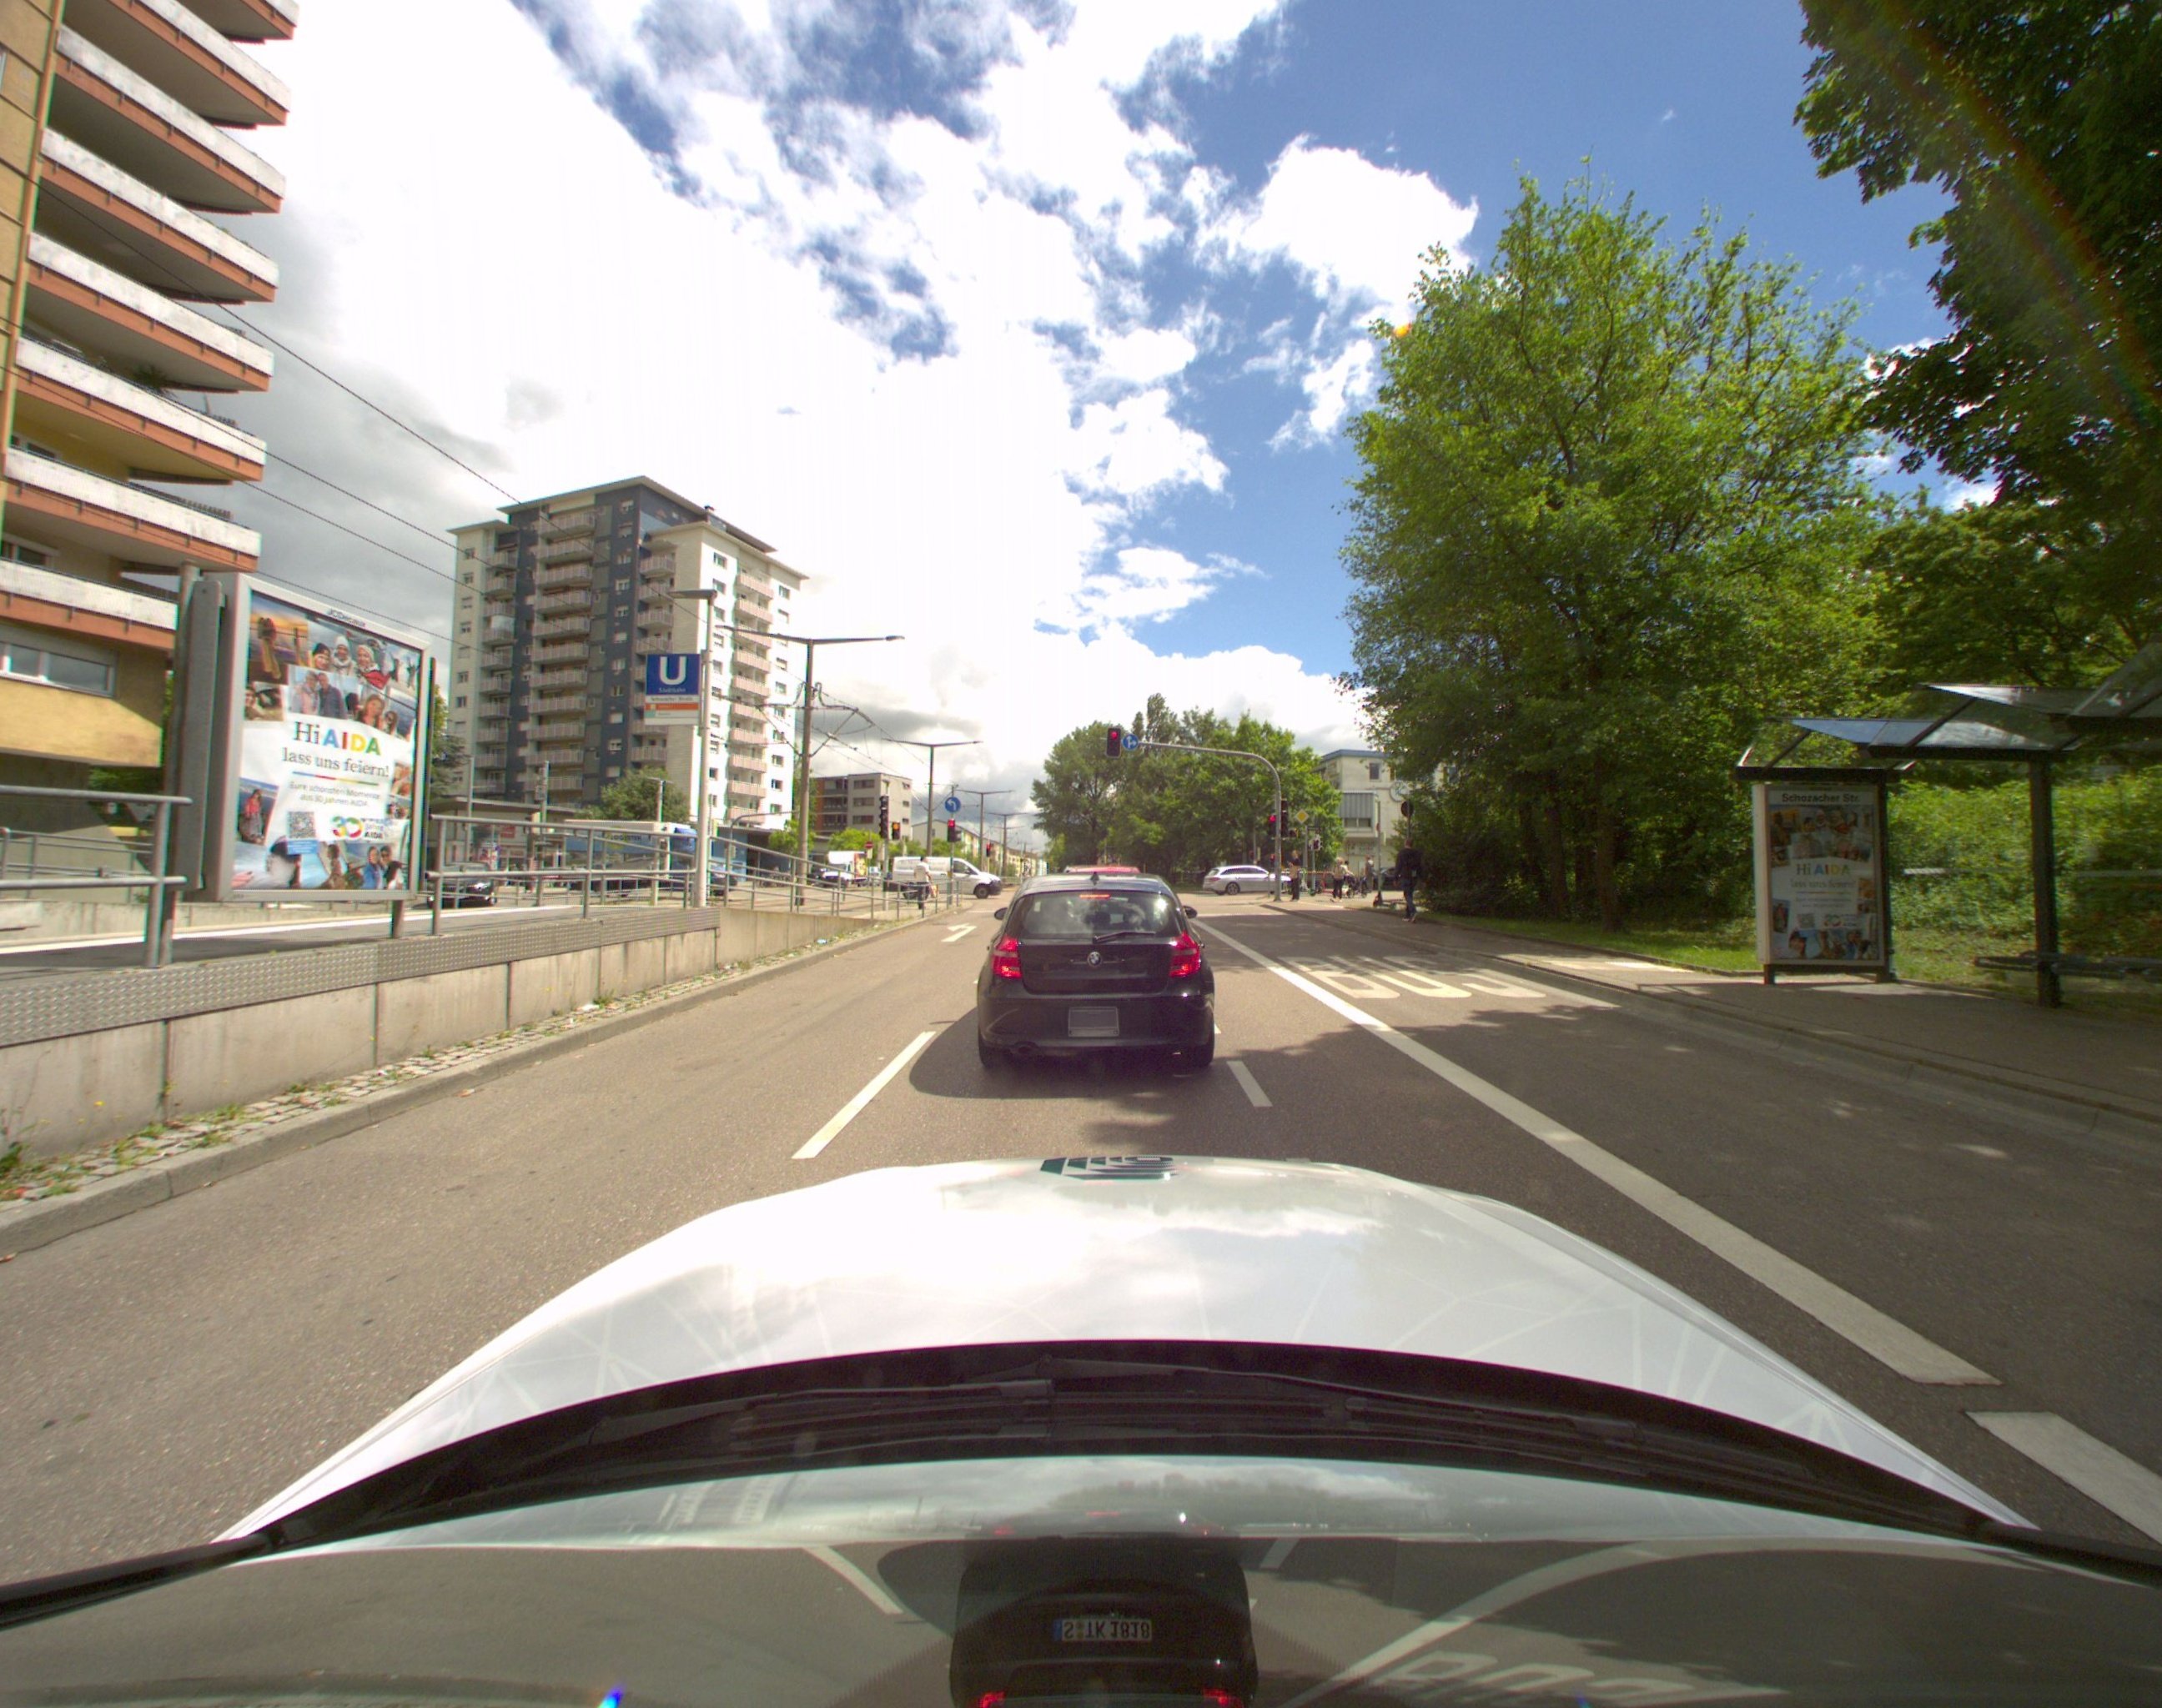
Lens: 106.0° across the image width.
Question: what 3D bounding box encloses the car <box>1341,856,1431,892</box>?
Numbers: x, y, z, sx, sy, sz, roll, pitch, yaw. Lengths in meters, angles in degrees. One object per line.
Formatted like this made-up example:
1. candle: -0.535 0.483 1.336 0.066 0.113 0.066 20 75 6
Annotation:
1. car: 17.943 1.161 48.032 4.530 2.014 1.996 -1 -1 -7

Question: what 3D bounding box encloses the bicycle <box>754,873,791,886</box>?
1. bicycle: -23.875 1.970 63.017 2.570 1.009 0.749 2 -3 -27

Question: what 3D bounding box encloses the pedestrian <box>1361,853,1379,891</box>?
1. pedestrian: 13.259 0.823 37.361 0.651 1.713 0.464 -1 -1 29

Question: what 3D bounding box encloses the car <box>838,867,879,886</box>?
1. car: -24.528 2.459 89.811 3.944 1.975 1.637 1 -1 -41

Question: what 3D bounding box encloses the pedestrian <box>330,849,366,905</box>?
1. pedestrian: -23.433 0.724 26.035 0.650 1.776 0.667 -1 -1 30

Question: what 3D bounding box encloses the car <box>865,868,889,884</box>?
1. car: -20.351 2.181 81.354 1.402 1.461 3.773 0 -1 0

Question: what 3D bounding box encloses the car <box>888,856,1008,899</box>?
1. car: -6.008 1.059 37.216 5.156 1.893 1.999 0 -1 -2

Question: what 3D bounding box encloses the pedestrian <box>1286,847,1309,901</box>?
1. pedestrian: 7.655 0.708 28.806 0.636 1.876 0.516 0 -1 -9

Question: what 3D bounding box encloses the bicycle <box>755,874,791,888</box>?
1. bicycle: -24.158 2.130 63.976 2.570 1.009 0.749 2 -3 -27

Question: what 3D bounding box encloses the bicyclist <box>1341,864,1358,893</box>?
1. bicyclist: 10.882 0.981 33.002 0.401 1.157 0.498 -1 -1 -31

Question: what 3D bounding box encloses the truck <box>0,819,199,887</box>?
1. truck: -34.577 -0.023 28.757 4.262 2.290 2.352 0 -1 2

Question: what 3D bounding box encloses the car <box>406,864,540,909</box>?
1. car: -20.451 1.046 27.606 1.573 1.405 3.866 -1 -1 2

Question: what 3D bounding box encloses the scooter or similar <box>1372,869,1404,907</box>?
1. scooter or similar: 10.708 1.181 28.422 0.886 1.230 0.455 4 -1 1

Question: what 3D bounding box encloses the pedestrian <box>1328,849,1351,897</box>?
1. pedestrian: 9.650 0.706 30.391 0.636 1.766 0.516 0 -1 -9

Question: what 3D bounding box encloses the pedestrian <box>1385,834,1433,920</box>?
1. pedestrian: 7.389 0.510 18.368 0.790 1.876 1.016 0 -1 10

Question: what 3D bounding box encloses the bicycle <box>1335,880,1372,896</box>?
1. bicycle: 11.071 1.382 33.102 1.595 0.610 0.529 0 -1 -31

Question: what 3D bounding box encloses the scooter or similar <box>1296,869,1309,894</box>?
1. scooter or similar: 9.478 1.159 34.806 0.543 1.064 1.267 0 -1 16

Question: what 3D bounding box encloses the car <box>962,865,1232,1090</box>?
1. car: 0.154 0.802 6.846 1.694 1.400 3.421 0 -1 2

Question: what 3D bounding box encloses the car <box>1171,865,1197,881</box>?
1. car: 11.419 2.083 90.569 1.862 1.662 3.987 0 -1 -9

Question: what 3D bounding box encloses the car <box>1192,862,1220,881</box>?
1. car: 12.204 1.685 79.617 1.724 1.871 3.990 0 -1 -7

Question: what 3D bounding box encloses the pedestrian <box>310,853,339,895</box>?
1. pedestrian: -26.521 0.691 28.560 0.494 1.440 0.551 -1 -1 12

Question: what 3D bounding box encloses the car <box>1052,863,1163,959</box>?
1. car: 0.444 0.858 13.747 1.632 1.400 3.421 0 -1 2

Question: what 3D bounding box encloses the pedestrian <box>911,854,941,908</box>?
1. pedestrian: -5.075 0.873 26.666 0.679 1.734 0.693 -1 -1 21

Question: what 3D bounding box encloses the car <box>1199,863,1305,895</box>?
1. car: 8.382 1.187 40.199 4.784 1.522 1.996 0 -1 -6

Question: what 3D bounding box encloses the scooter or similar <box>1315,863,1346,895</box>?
1. scooter or similar: 10.300 1.034 33.666 1.145 1.272 0.556 1 -1 4

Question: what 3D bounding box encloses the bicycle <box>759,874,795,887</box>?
1. bicycle: -24.282 2.139 65.080 2.570 1.009 0.749 2 -3 -27

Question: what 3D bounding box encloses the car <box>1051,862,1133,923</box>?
1. car: 0.332 0.921 21.224 1.893 1.422 4.540 0 -1 2

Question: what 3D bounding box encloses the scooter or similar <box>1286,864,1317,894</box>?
1. scooter or similar: 8.948 1.009 33.068 1.105 1.235 0.540 0 -1 4

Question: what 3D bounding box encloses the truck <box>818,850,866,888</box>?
1. truck: -20.591 1.248 70.581 2.275 3.118 7.312 0 -1 -2

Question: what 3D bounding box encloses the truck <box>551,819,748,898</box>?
1. truck: -19.096 0.177 36.433 7.261 3.348 2.601 0 -1 -7
